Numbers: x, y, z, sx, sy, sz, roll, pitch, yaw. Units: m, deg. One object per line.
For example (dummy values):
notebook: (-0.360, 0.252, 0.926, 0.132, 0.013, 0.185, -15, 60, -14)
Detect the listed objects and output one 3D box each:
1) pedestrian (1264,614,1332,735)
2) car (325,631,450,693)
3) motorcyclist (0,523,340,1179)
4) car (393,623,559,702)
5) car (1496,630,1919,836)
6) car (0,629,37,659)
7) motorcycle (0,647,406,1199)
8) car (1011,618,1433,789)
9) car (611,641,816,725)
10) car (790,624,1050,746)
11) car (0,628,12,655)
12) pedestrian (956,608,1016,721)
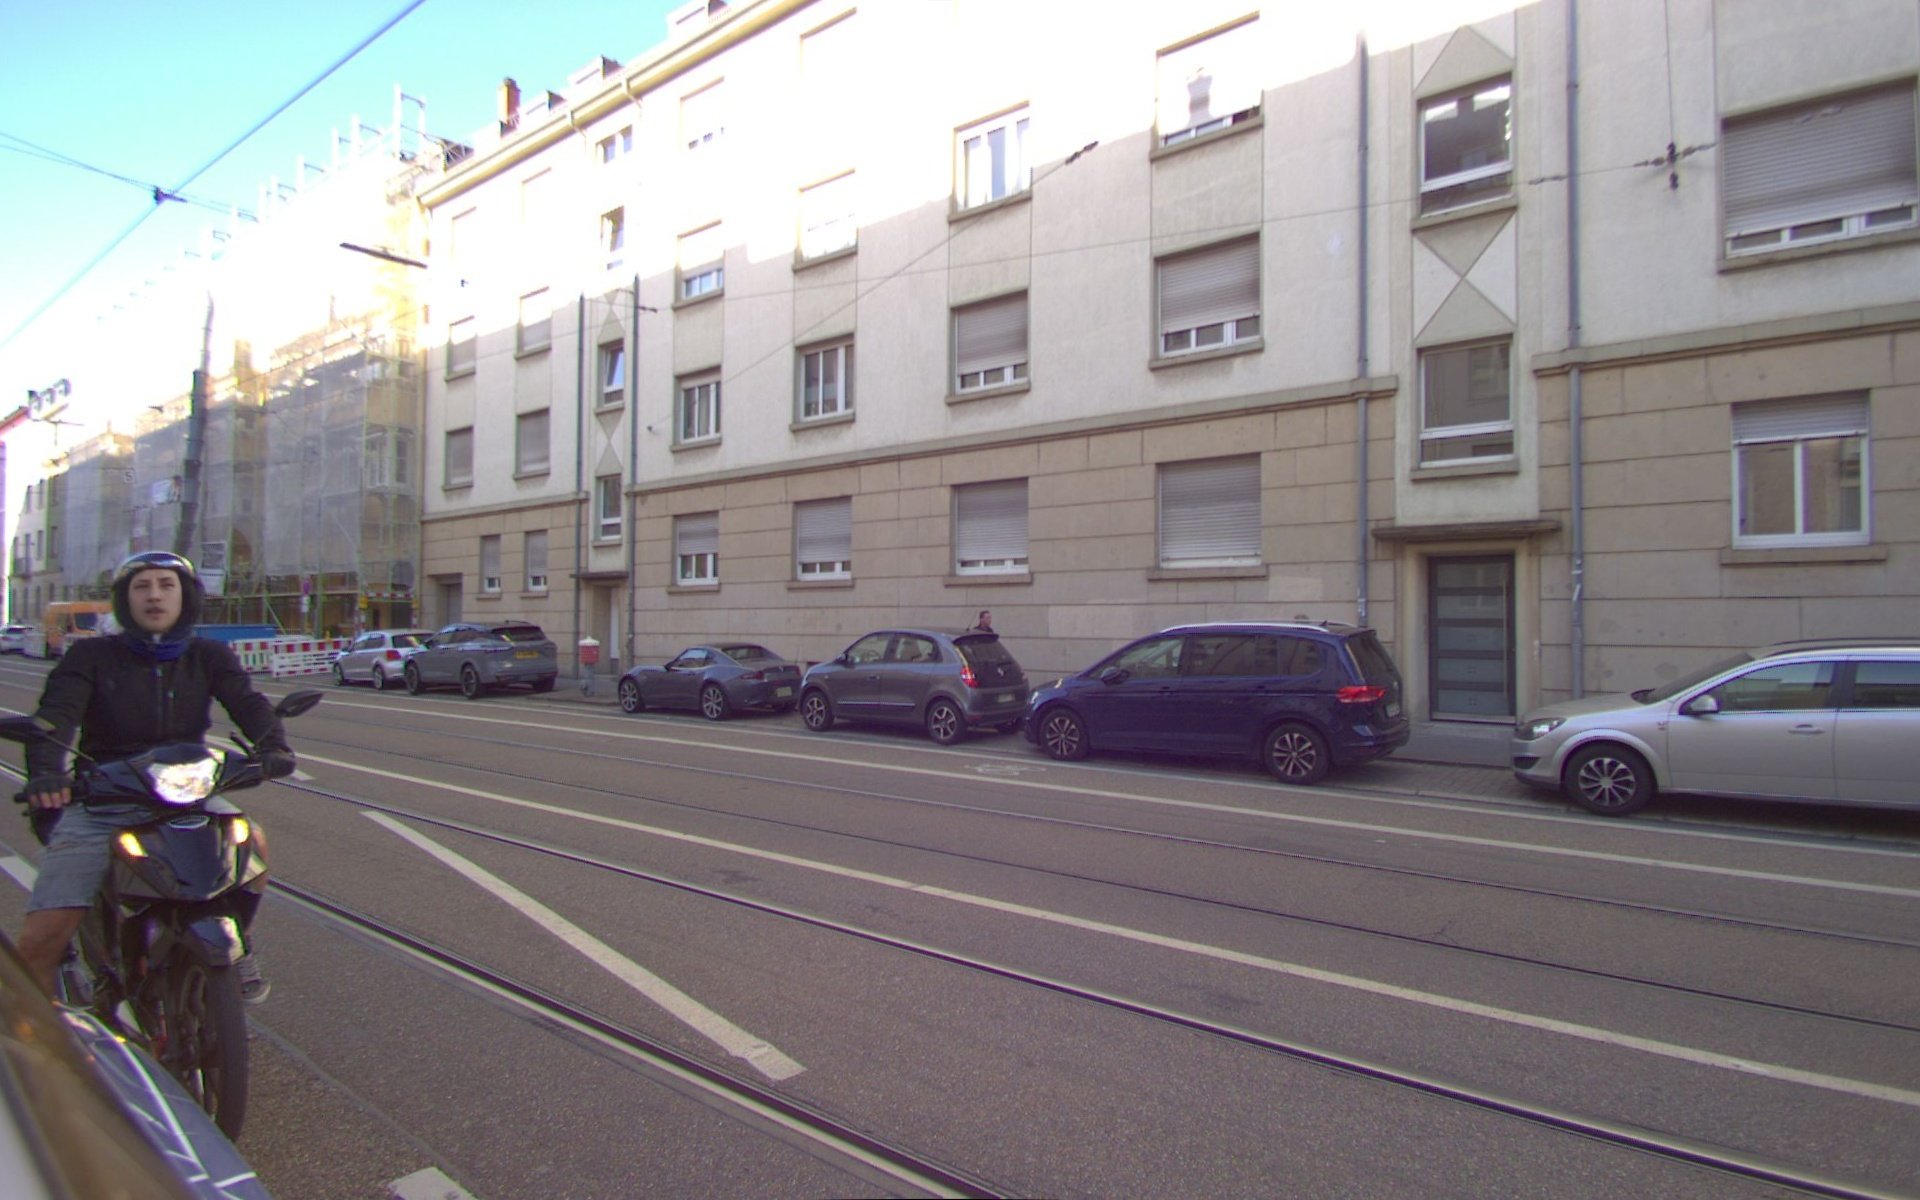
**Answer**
pedestrian: (4.482, 0.967, 13.418, 0.693, 1.553, 0.563, -2, -3, 39)
car: (-14.390, 1.502, 25.401, 3.506, 1.423, 1.524, -1, -2, 38)
motorcyclist: (-2.548, 0.656, 3.163, 0.899, 1.668, 0.781, -2, -3, 41)
car: (-10.888, 1.337, 22.664, 4.201, 1.611, 1.675, -1, -2, 38)
car: (7.120, 1.005, 8.505, 4.383, 1.489, 1.779, -1, -1, 38)
car: (-50.071, 2.276, 53.345, 3.964, 1.498, 1.662, -2, -1, 42)
motorcycle: (-2.645, 0.817, 3.241, 2.272, 1.302, 0.781, -2, -3, 41)
car: (2.887, 1.035, 11.679, 4.383, 1.611, 1.779, -1, -1, 38)
car: (-4.320, 1.369, 17.504, 3.681, 1.244, 1.502, -1, -1, 38)
car: (-0.634, 1.136, 14.658, 3.535, 1.539, 1.659, -1, -2, 38)
car: (-54.586, 2.331, 56.822, 3.964, 1.498, 1.662, -2, -1, 42)
pedestrian: (0.408, 1.004, 15.954, 0.729, 1.722, 0.597, -2, -3, 39)
